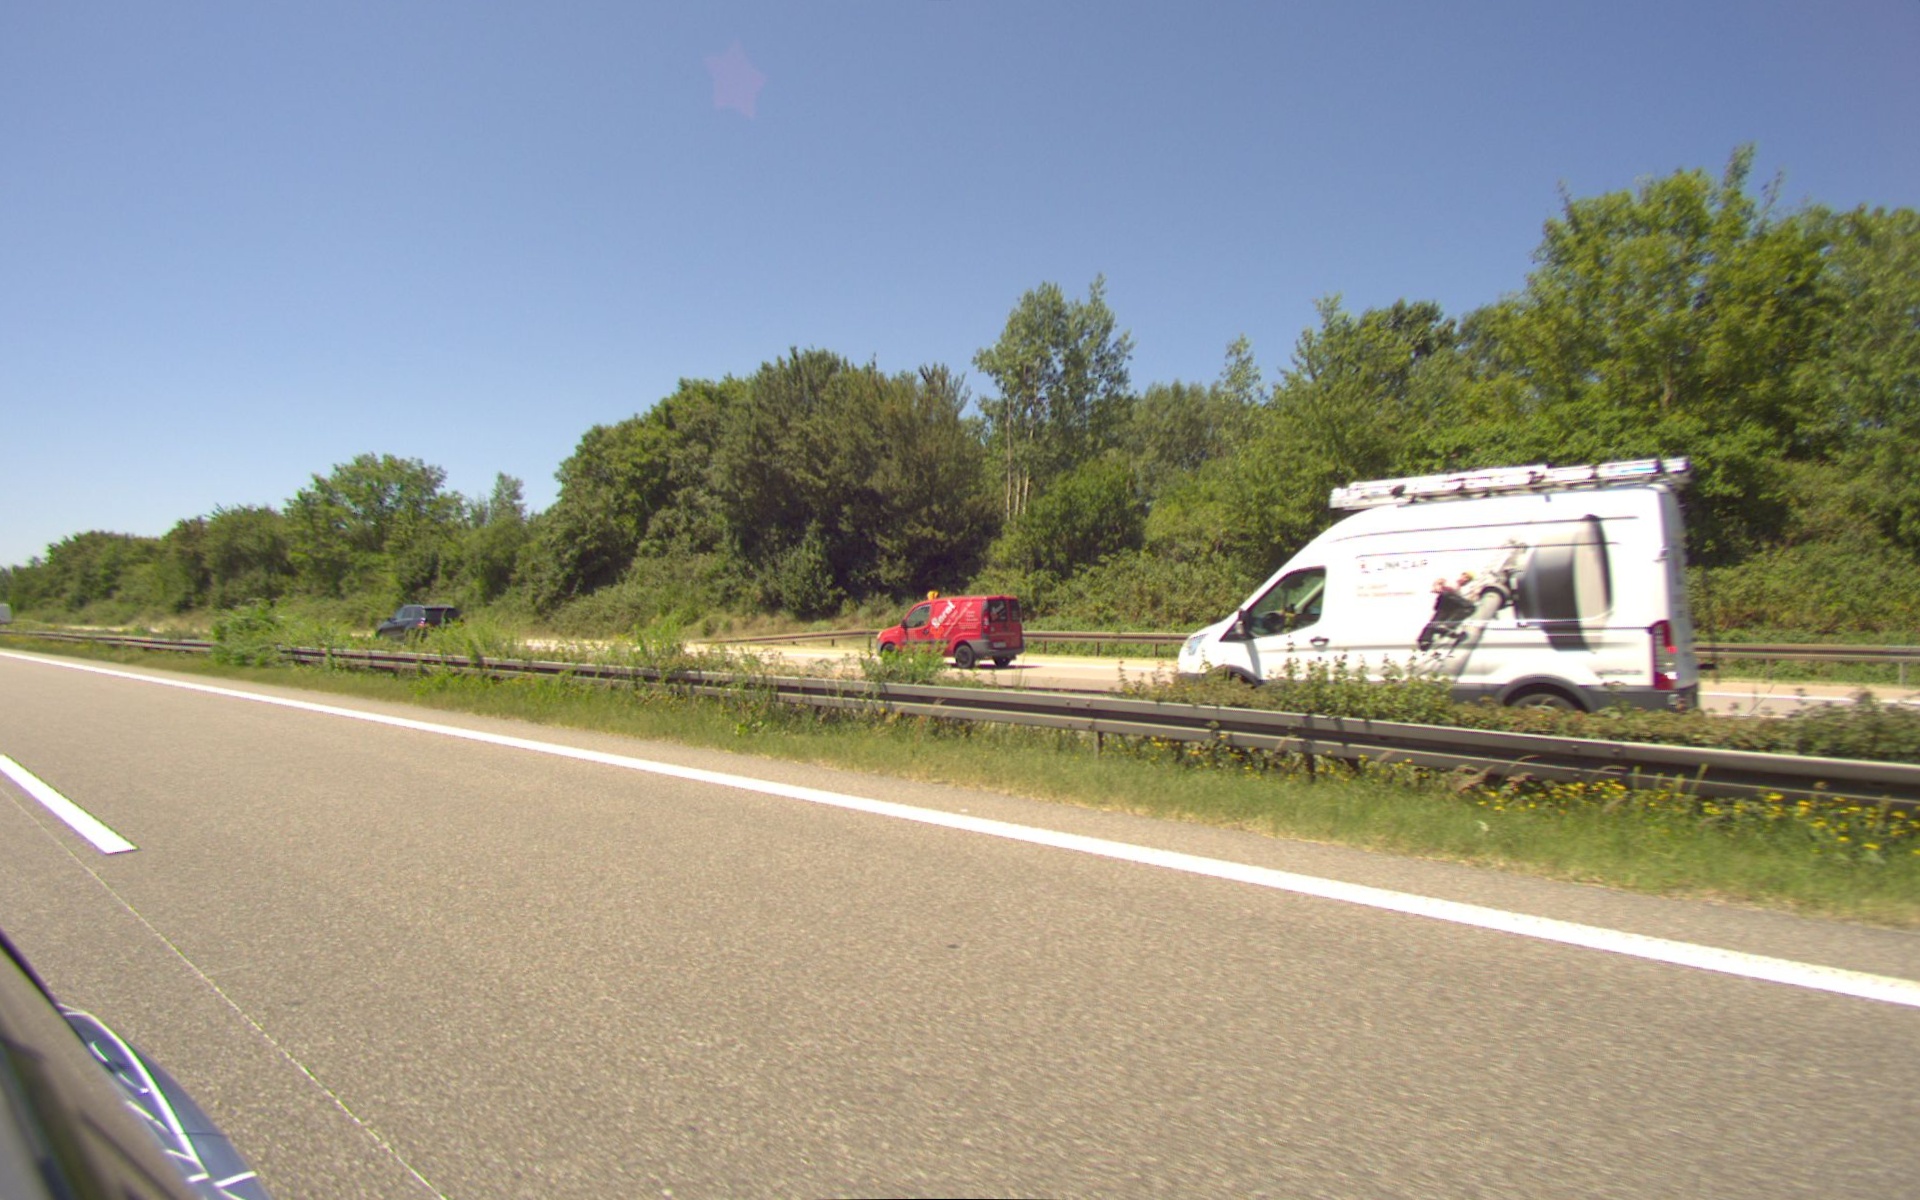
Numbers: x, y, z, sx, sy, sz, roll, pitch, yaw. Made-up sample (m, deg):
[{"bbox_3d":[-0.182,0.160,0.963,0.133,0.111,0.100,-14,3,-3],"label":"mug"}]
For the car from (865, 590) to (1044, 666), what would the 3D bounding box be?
[{"bbox_3d":[-0.223,0.698,26.186,4.766,1.790,1.685,-1,-1,43],"label":"car"}]

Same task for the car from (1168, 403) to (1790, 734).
[{"bbox_3d":[5.417,-0.222,11.278,5.827,2.800,2.066,-1,-1,42],"label":"car"}]

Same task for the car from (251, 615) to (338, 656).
[{"bbox_3d":[-26.300,1.355,39.946,4.390,1.525,1.745,-1,-1,41],"label":"car"}]

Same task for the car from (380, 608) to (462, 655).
[{"bbox_3d":[-21.406,1.214,40.143,4.000,1.767,1.649,-1,-1,43],"label":"car"}]

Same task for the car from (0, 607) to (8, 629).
[{"bbox_3d":[-114.426,2.126,119.318,7.383,2.596,2.207,-1,-2,39],"label":"car"}]
